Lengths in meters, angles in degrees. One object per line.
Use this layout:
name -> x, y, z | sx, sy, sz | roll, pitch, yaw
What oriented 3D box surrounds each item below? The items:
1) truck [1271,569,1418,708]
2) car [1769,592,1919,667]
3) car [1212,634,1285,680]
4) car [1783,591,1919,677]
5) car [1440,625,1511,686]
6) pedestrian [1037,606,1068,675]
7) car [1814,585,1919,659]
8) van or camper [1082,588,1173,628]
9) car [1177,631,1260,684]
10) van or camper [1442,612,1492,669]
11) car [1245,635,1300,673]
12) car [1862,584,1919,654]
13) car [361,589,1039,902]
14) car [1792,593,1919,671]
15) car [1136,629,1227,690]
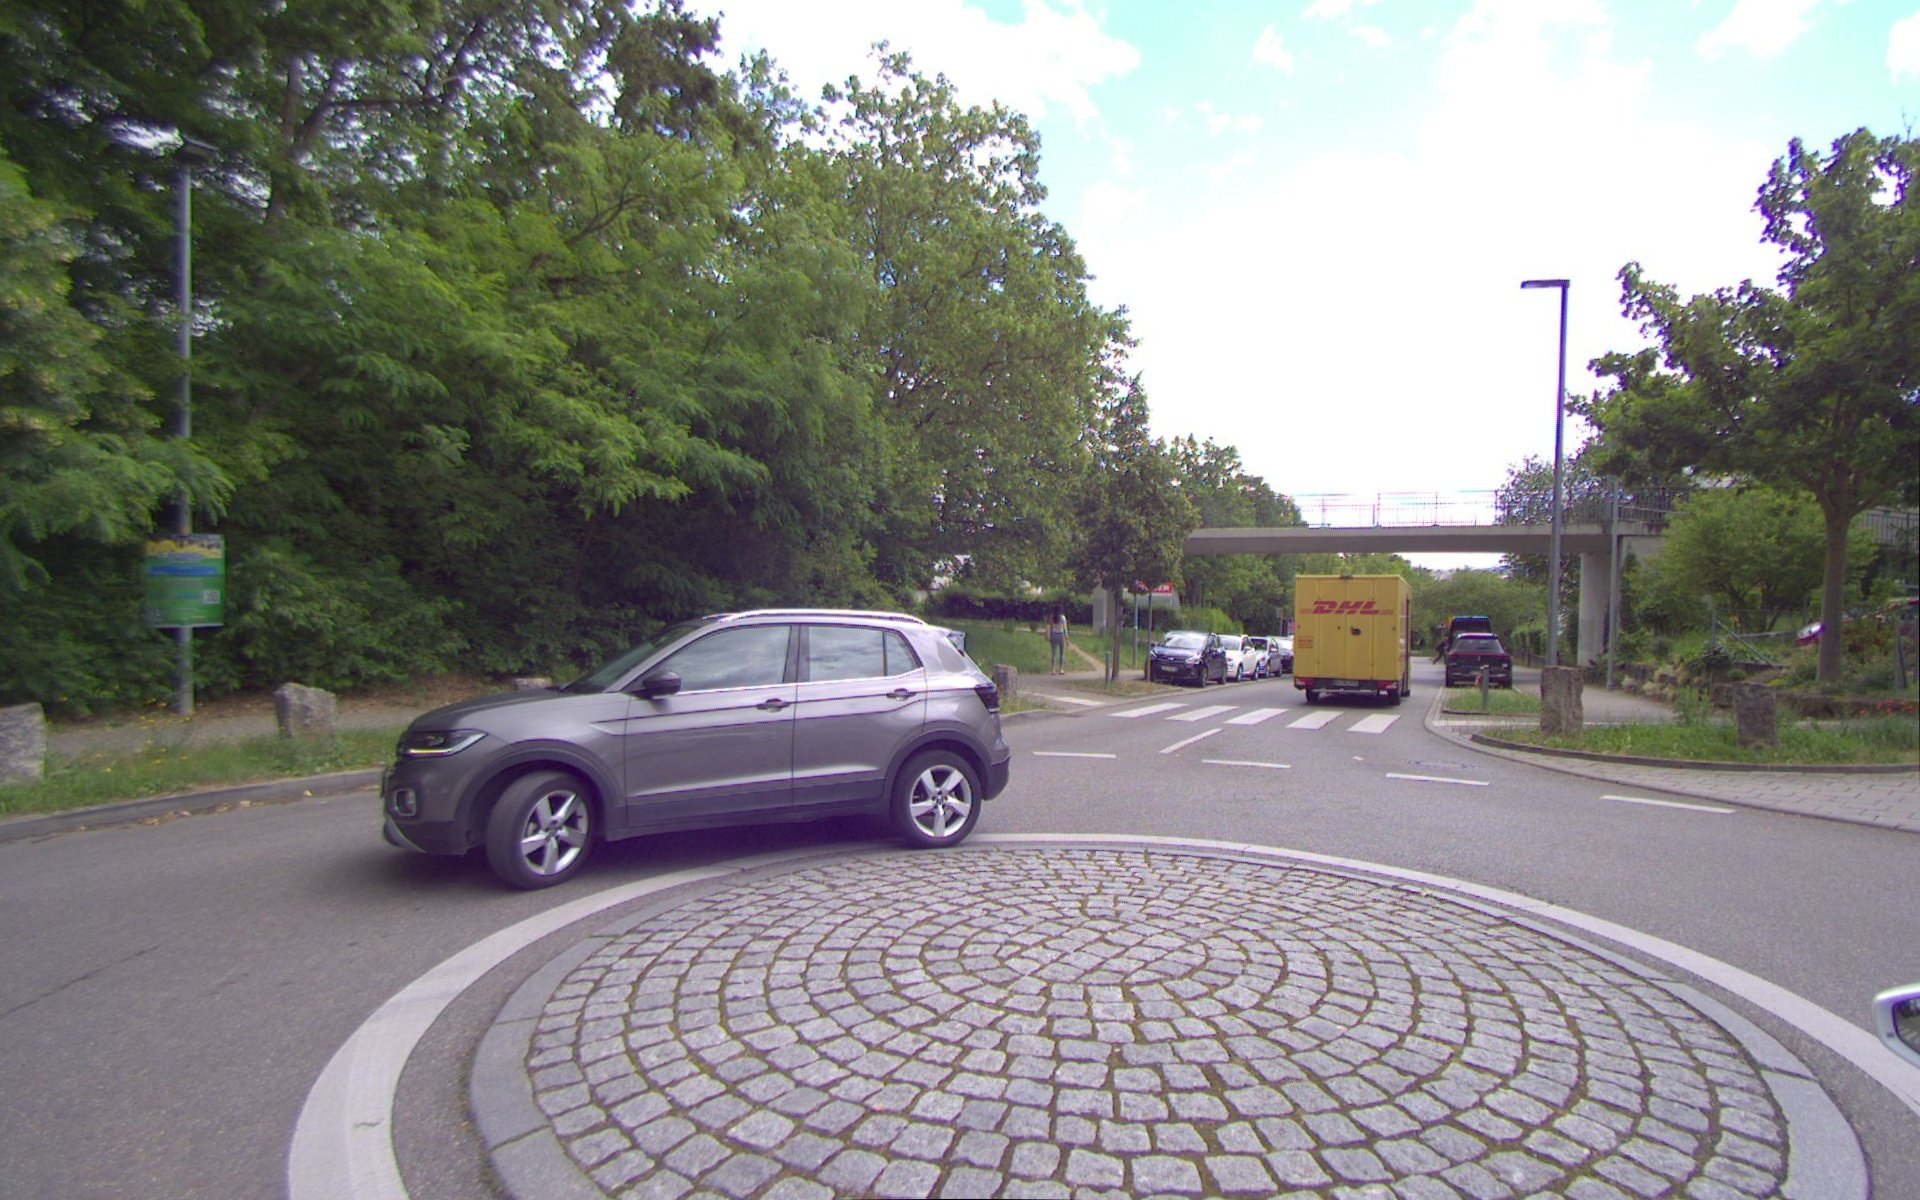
truck -> 9.220, 0.876, 23.601 | 2.429, 2.738, 6.816 | 1, -1, 27
car -> 20.119, 0.630, 21.890 | 1.671, 1.518, 3.617 | 2, 0, -41
car -> 10.716, 2.062, 37.101 | 1.855, 1.446, 3.995 | 2, 0, 27
car -> 17.255, 0.618, 18.018 | 1.671, 1.458, 3.617 | 2, 0, -41
car -> 16.259, 1.795, 31.854 | 1.785, 1.699, 4.369 | 1, -5, 25
pedestrian -> 2.416, 1.048, 26.188 | 0.724, 1.745, 0.660 | 2, 0, 3
car -> 22.379, 0.530, 23.128 | 1.931, 1.635, 3.948 | 2, 0, -44
van or camper -> 9.635, 0.447, 57.653 | 4.775, 2.114, 1.999 | 2, 0, 22
car -> 8.456, 1.811, 32.652 | 1.856, 1.479, 3.542 | 2, 0, 27
van or camper -> 24.122, 1.966, 47.963 | 1.963, 2.556, 5.467 | -1, -3, 26
car -> 13.724, 2.328, 43.995 | 1.854, 1.529, 4.451 | 2, -1, 22
car -> 24.904, 0.519, 24.257 | 1.931, 1.690, 4.499 | 2, 0, -43
car -> -1.611, 0.829, 6.829 | 3.951, 1.639, 1.713 | 2, -2, -22
car -> 18.590, 0.632, 19.331 | 1.671, 1.441, 3.754 | 2, 0, -41
car -> 6.369, 1.616, 28.581 | 1.757, 1.487, 3.998 | 2, 0, 23
